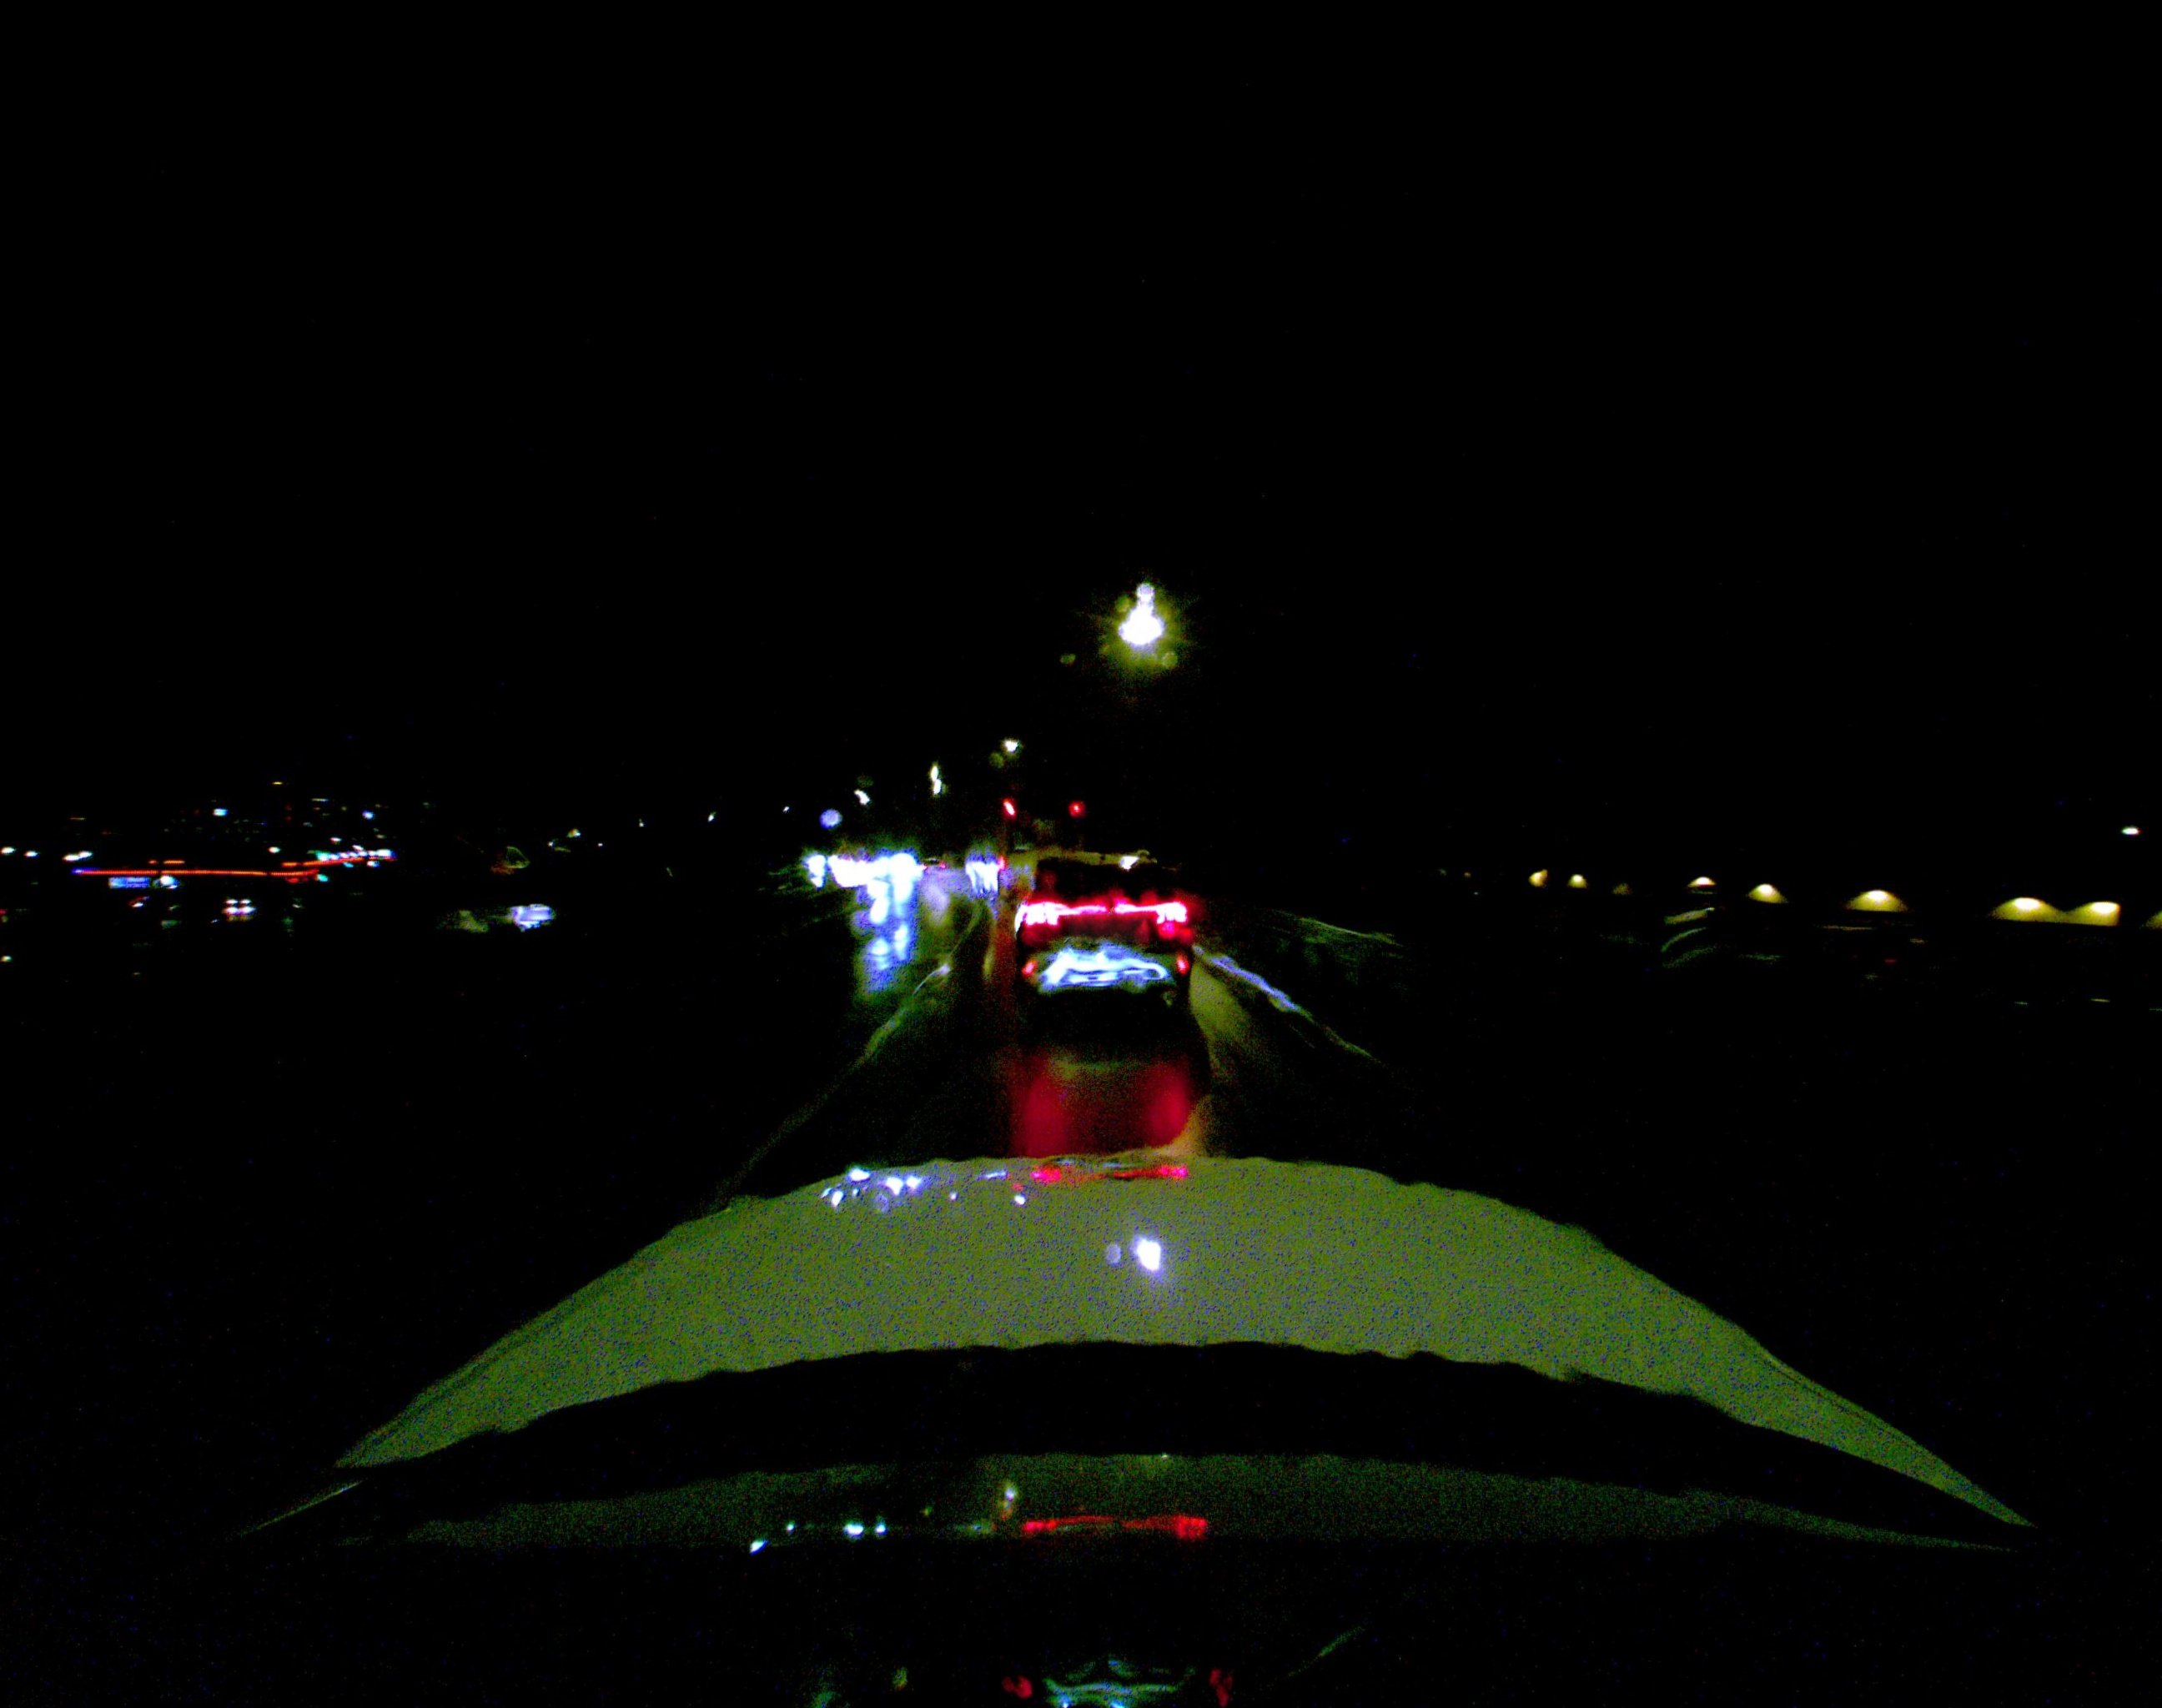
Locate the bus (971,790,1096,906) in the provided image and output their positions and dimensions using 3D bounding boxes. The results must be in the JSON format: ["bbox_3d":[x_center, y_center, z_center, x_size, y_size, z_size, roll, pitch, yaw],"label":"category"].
[{"bbox_3d":[-2.151,-0.173,28.942,3.083,3.132,12.655,-2,0,-9],"label":"bus"}]

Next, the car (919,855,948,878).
[{"bbox_3d":[-11.192,0.947,61.697,1.641,1.656,3.686,-2,-1,-19],"label":"car"}]

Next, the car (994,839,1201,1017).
[{"bbox_3d":[0.161,0.682,9.398,1.850,1.586,3.999,-1,0,0],"label":"car"}]

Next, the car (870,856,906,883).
[{"bbox_3d":[-13.232,1.031,55.677,1.785,1.704,4.282,-2,0,-22],"label":"car"}]

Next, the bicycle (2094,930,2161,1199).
[{"bbox_3d":[4.482,0.826,2.308,0.483,1.034,2.171,-1,0,-1],"label":"bicycle"}]

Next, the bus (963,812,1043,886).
[{"bbox_3d":[-3.926,-0.254,39.048,3.049,3.131,8.049,2,0,-11],"label":"bus"}]
